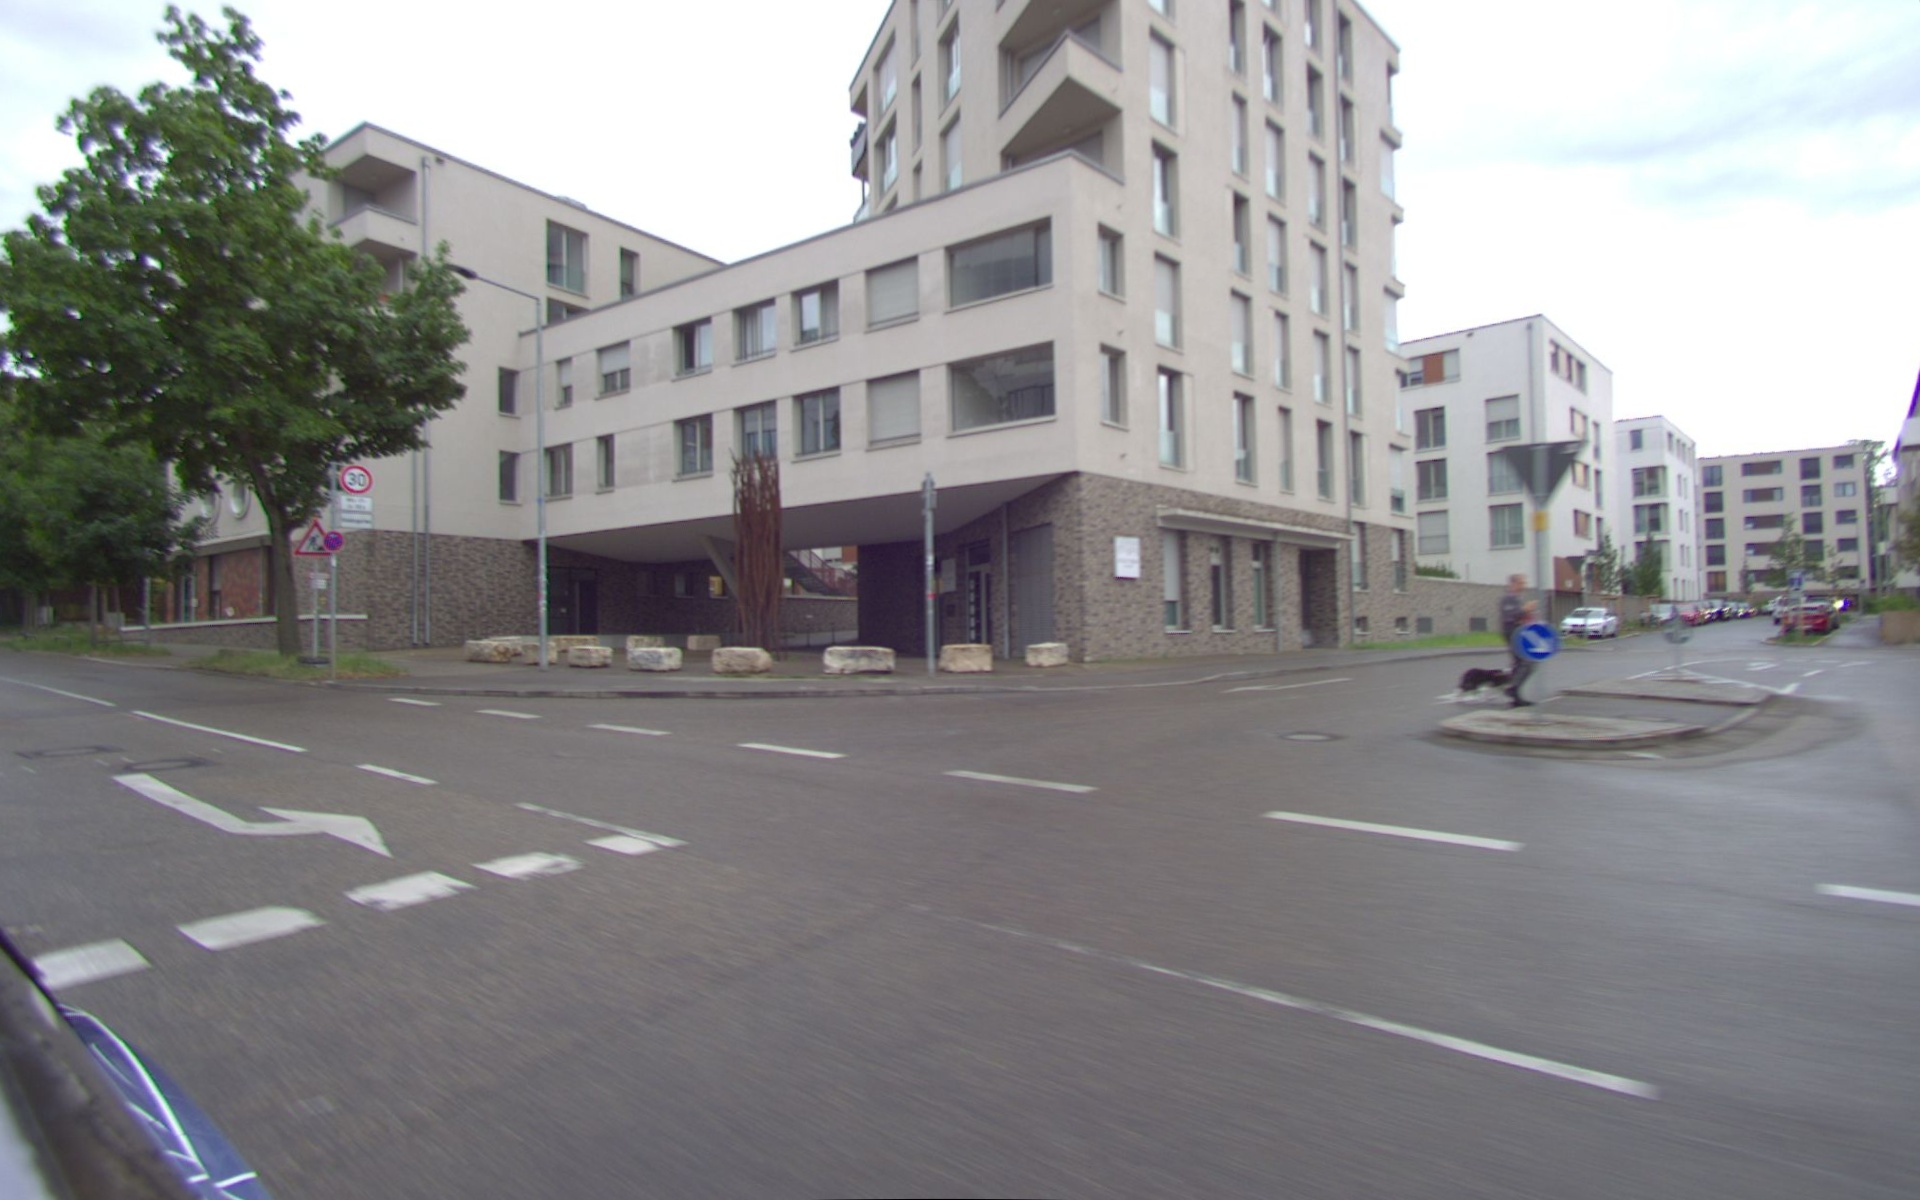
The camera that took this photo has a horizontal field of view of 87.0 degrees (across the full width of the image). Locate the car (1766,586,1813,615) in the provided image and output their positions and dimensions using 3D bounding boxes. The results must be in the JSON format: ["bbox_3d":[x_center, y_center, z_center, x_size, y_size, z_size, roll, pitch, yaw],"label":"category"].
[{"bbox_3d":[54.877,0.034,67.001,1.995,1.763,3.953,-3,-2,35],"label":"car"}]

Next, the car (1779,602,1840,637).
[{"bbox_3d":[40.342,0.919,48.015,2.000,1.494,3.944,-3,-1,43],"label":"car"}]

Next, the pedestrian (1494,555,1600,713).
[{"bbox_3d":[7.892,0.446,13.674,1.093,2.029,1.049,-2,-1,25],"label":"pedestrian"}]

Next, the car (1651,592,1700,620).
[{"bbox_3d":[46.613,0.390,65.902,2.000,1.763,3.943,-3,-2,43],"label":"car"}]

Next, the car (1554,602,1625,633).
[{"bbox_3d":[30.099,0.836,48.358,2.001,1.312,4.090,-3,-1,44],"label":"car"}]
